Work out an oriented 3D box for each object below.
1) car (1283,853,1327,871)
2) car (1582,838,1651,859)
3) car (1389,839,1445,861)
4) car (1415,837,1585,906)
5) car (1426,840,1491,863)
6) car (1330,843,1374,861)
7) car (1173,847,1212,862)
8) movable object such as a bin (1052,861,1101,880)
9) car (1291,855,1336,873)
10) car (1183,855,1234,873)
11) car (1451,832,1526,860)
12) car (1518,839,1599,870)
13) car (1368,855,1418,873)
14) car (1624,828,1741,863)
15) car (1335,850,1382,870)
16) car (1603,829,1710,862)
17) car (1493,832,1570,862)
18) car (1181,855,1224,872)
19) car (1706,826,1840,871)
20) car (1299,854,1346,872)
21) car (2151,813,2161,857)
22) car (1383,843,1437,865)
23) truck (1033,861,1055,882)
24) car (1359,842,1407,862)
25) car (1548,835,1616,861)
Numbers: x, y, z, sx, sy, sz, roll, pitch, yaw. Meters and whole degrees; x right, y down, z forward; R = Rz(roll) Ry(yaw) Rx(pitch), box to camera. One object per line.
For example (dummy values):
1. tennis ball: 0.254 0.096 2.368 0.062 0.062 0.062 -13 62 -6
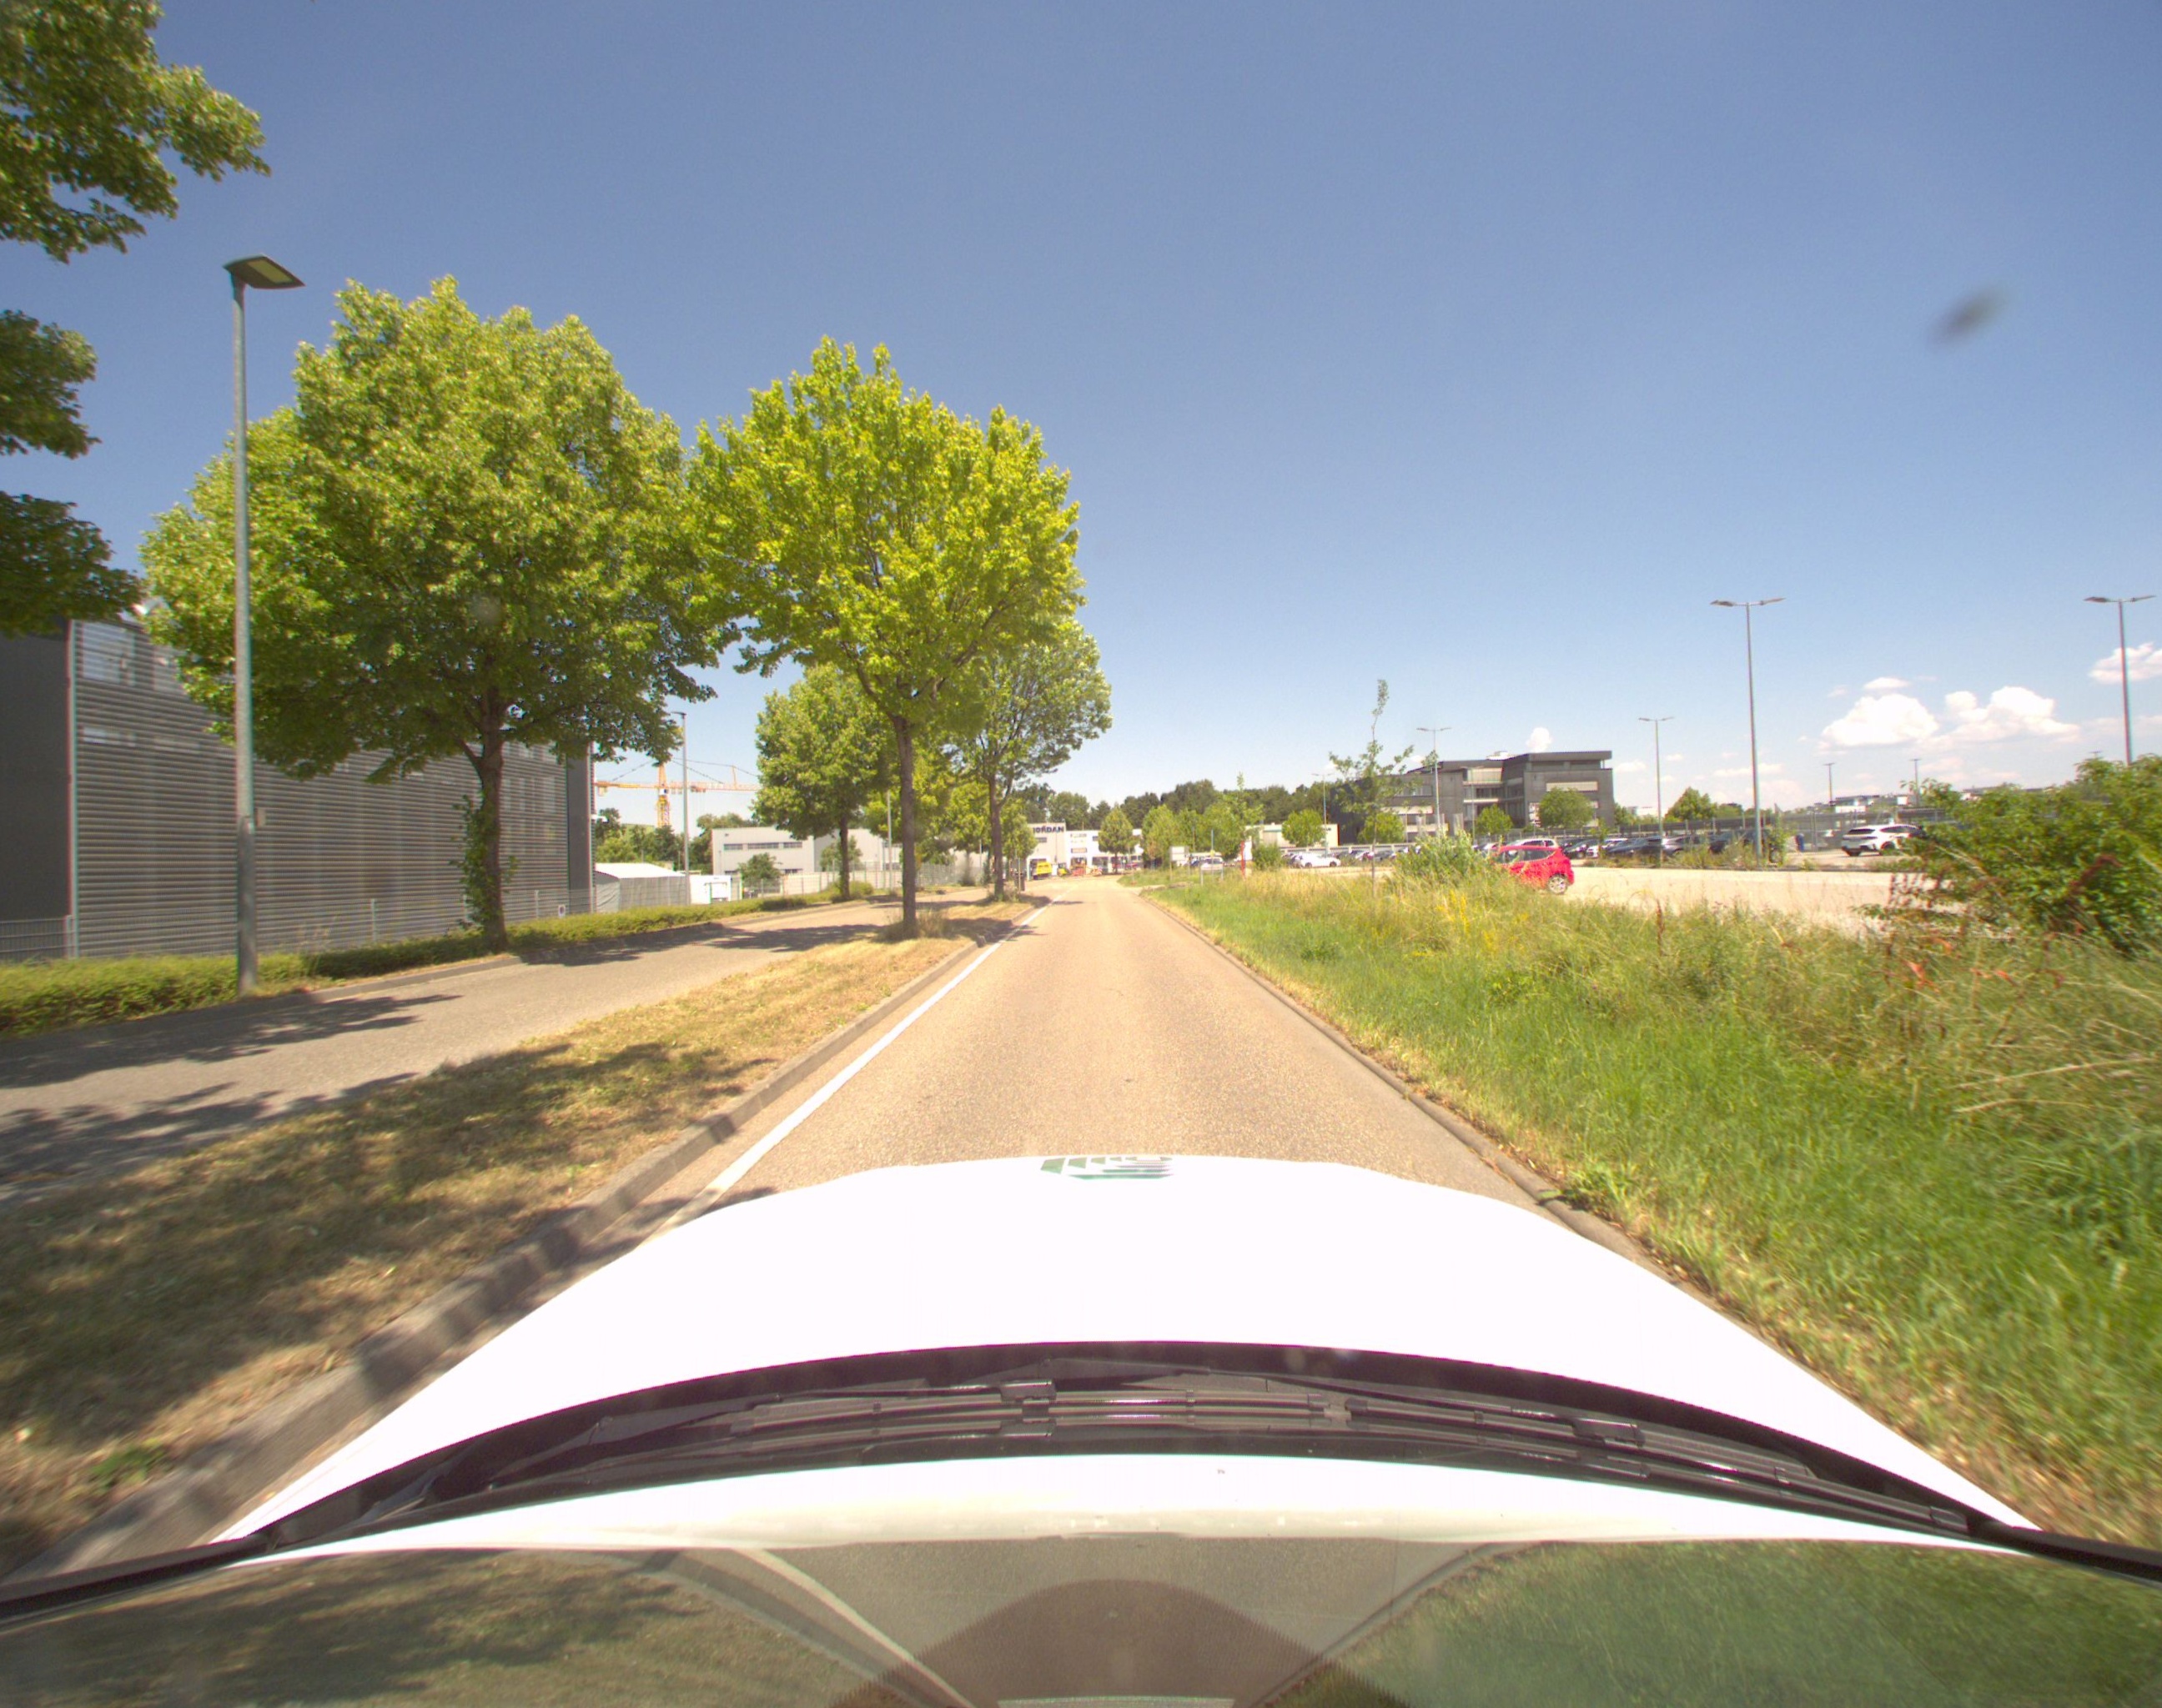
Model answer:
1. car: 23.313 0.840 84.923 3.978 1.490 1.767 -4 2 -3
2. car: 39.048 -0.397 59.431 3.979 1.192 1.730 -4 2 -4
3. car: 28.786 -0.372 69.786 3.978 1.595 1.767 -4 2 -3
4. car: 12.303 0.521 24.104 3.973 1.724 1.927 -3 -1 0
5. car: 27.966 -0.192 60.367 3.978 1.392 1.767 -4 2 -3
6. car: 28.230 -0.213 84.850 3.978 1.595 1.767 -4 2 -3
7. car: 12.866 0.009 94.361 4.153 1.400 1.767 -4 2 -3
8. movable object such as a bin: -0.633 2.700 135.313 7.482 2.499 3.676 -4 2 8
9. car: 23.370 0.978 82.009 3.978 1.400 1.767 -4 2 -3
10. car: 12.511 0.967 80.056 4.685 1.400 1.923 -4 2 2
11. car: 28.287 -0.568 56.597 4.356 1.595 1.767 -4 2 -3
12. car: 29.664 0.004 50.641 3.978 1.595 1.767 -4 2 -3
13. car: 29.281 0.926 76.410 3.978 1.271 1.767 -4 2 -3
14. car: 28.102 -0.371 38.153 3.973 1.395 1.927 -3 -1 0
15. car: 27.897 0.570 81.927 3.978 1.595 1.767 -4 2 -3
16. car: 28.968 -0.406 41.059 3.973 1.395 1.927 -3 -1 0
17. car: 29.192 -0.470 52.852 3.978 1.595 1.767 -4 2 -3
18. car: 12.832 0.949 85.817 4.153 1.400 1.767 -4 2 -3
19. car: 29.468 -0.205 34.773 3.973 1.641 1.927 -3 -1 0
20. car: 23.570 0.868 79.523 3.976 1.400 1.768 -4 2 -2
21. car: 38.349 -0.739 26.969 3.789 1.464 1.732 -4 2 -4
22. car: 29.247 -0.049 72.456 3.978 1.595 1.767 -4 2 -3
23. truck: -6.214 2.857 135.557 2.936 2.885 5.795 -4 2 -8
24. car: 29.310 -0.193 79.013 3.978 1.595 1.767 -4 2 -3
25. car: 38.465 -0.498 62.611 3.979 1.683 1.998 -4 2 -4
